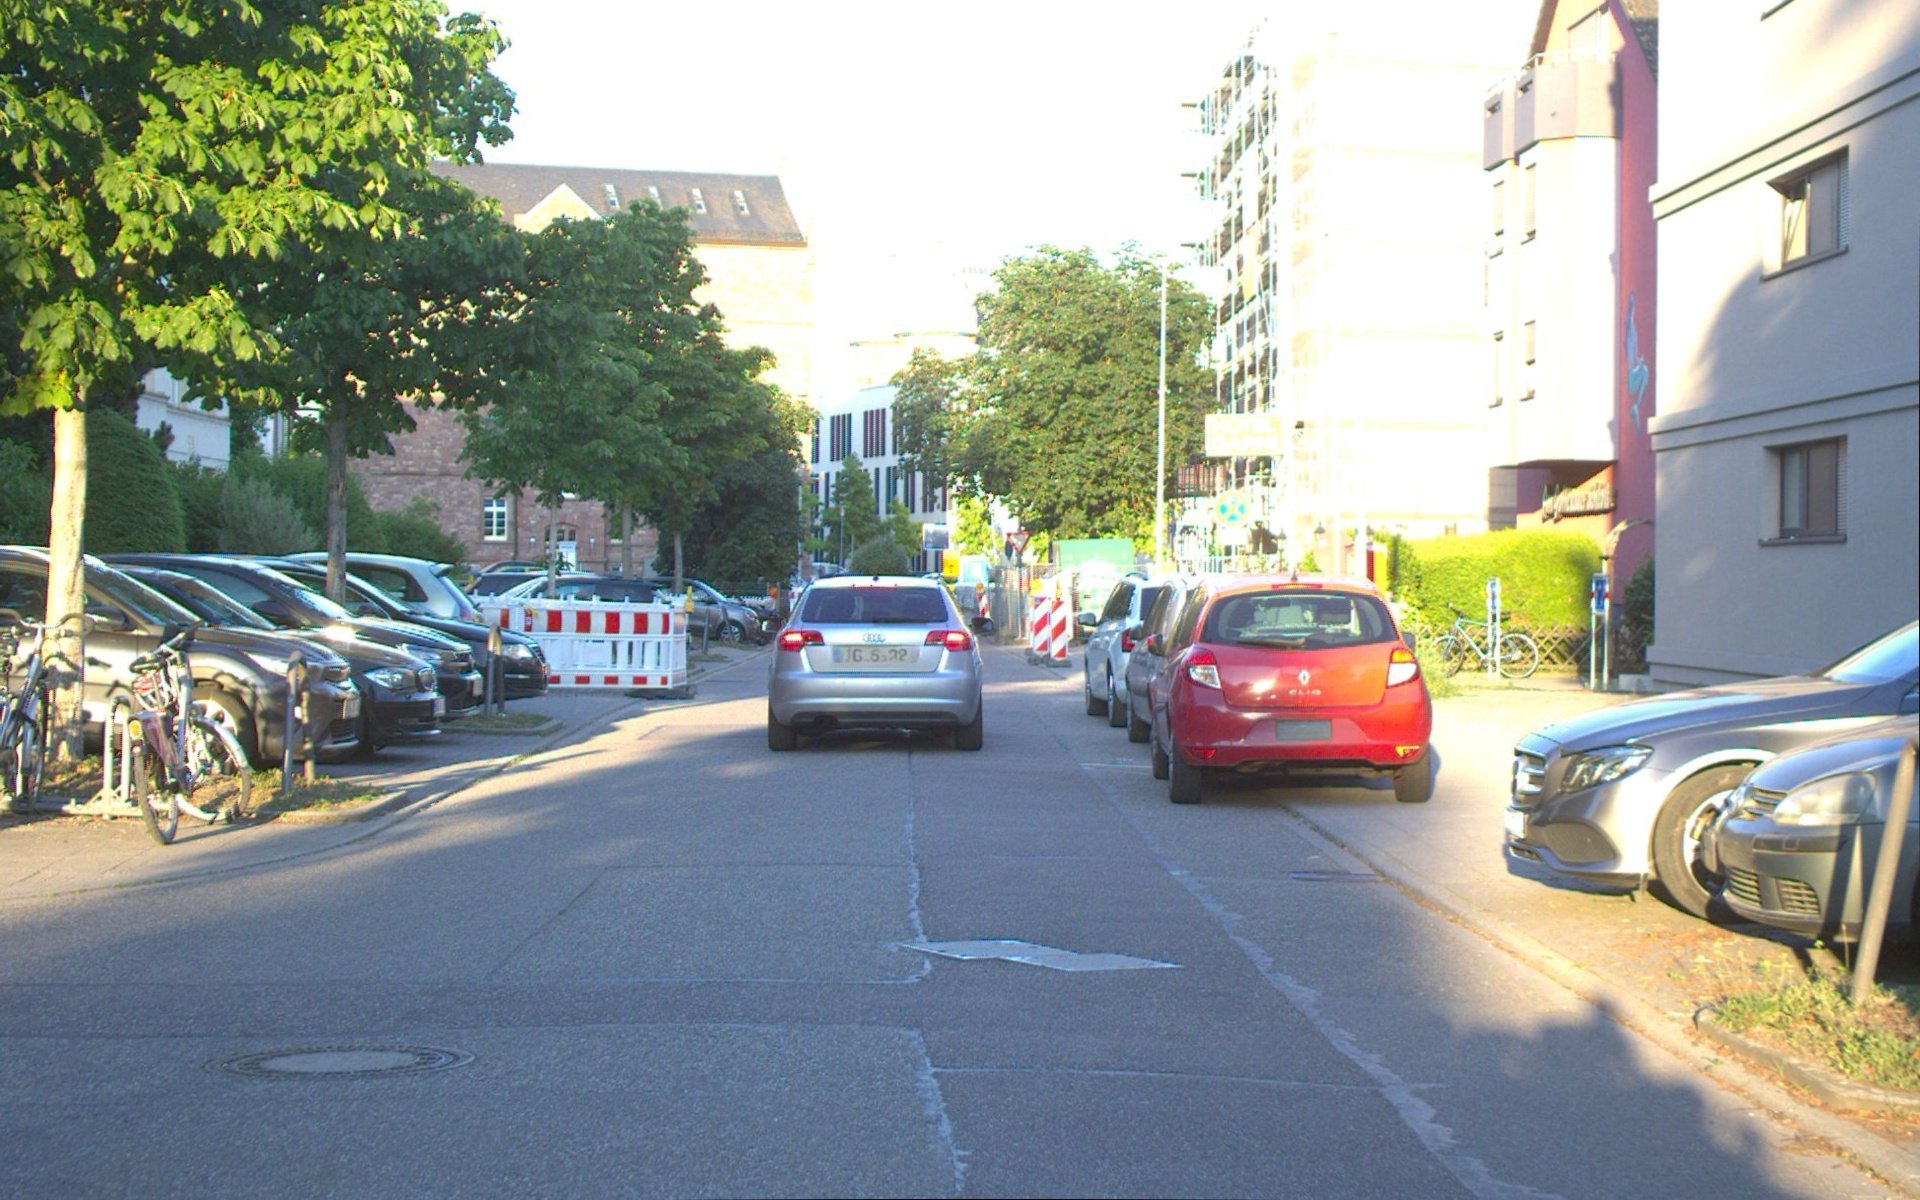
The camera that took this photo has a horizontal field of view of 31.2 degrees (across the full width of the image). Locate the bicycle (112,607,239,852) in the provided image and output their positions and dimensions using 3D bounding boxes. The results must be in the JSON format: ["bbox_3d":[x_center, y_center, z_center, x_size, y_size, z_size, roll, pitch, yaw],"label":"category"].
[{"bbox_3d":[-4.254,0.672,18.726,0.406,1.223,1.987,1,1,-6],"label":"bicycle"}]

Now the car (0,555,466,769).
[{"bbox_3d":[-5.860,0.438,26.011,3.986,1.475,2.000,1,1,-2],"label":"car"}]

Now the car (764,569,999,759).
[{"bbox_3d":[-0.730,0.495,28.931,1.807,1.483,4.000,0,0,-4],"label":"car"}]

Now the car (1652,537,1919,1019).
[{"bbox_3d":[4.824,0.632,12.876,3.938,1.643,1.977,1,1,-5],"label":"car"}]

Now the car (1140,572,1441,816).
[{"bbox_3d":[2.182,0.580,23.509,1.730,1.478,3.557,1,1,1],"label":"car"}]

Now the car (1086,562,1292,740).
[{"bbox_3d":[2.206,0.457,33.877,1.809,1.607,3.581,1,1,1],"label":"car"}]

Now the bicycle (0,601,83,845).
[{"bbox_3d":[-5.211,0.640,18.781,0.406,1.223,1.987,1,1,-3],"label":"bicycle"}]

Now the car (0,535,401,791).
[{"bbox_3d":[-5.957,0.379,23.418,3.986,1.620,2.000,1,1,-2],"label":"car"}]

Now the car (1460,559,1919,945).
[{"bbox_3d":[4.488,0.608,15.334,4.149,1.567,1.798,-1,1,-5],"label":"car"}]

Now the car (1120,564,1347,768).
[{"bbox_3d":[2.248,0.508,28.993,1.664,1.568,3.440,1,1,1],"label":"car"}]

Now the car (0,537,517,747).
[{"bbox_3d":[-5.793,0.326,28.632,3.986,1.600,1.873,1,1,-2],"label":"car"}]
